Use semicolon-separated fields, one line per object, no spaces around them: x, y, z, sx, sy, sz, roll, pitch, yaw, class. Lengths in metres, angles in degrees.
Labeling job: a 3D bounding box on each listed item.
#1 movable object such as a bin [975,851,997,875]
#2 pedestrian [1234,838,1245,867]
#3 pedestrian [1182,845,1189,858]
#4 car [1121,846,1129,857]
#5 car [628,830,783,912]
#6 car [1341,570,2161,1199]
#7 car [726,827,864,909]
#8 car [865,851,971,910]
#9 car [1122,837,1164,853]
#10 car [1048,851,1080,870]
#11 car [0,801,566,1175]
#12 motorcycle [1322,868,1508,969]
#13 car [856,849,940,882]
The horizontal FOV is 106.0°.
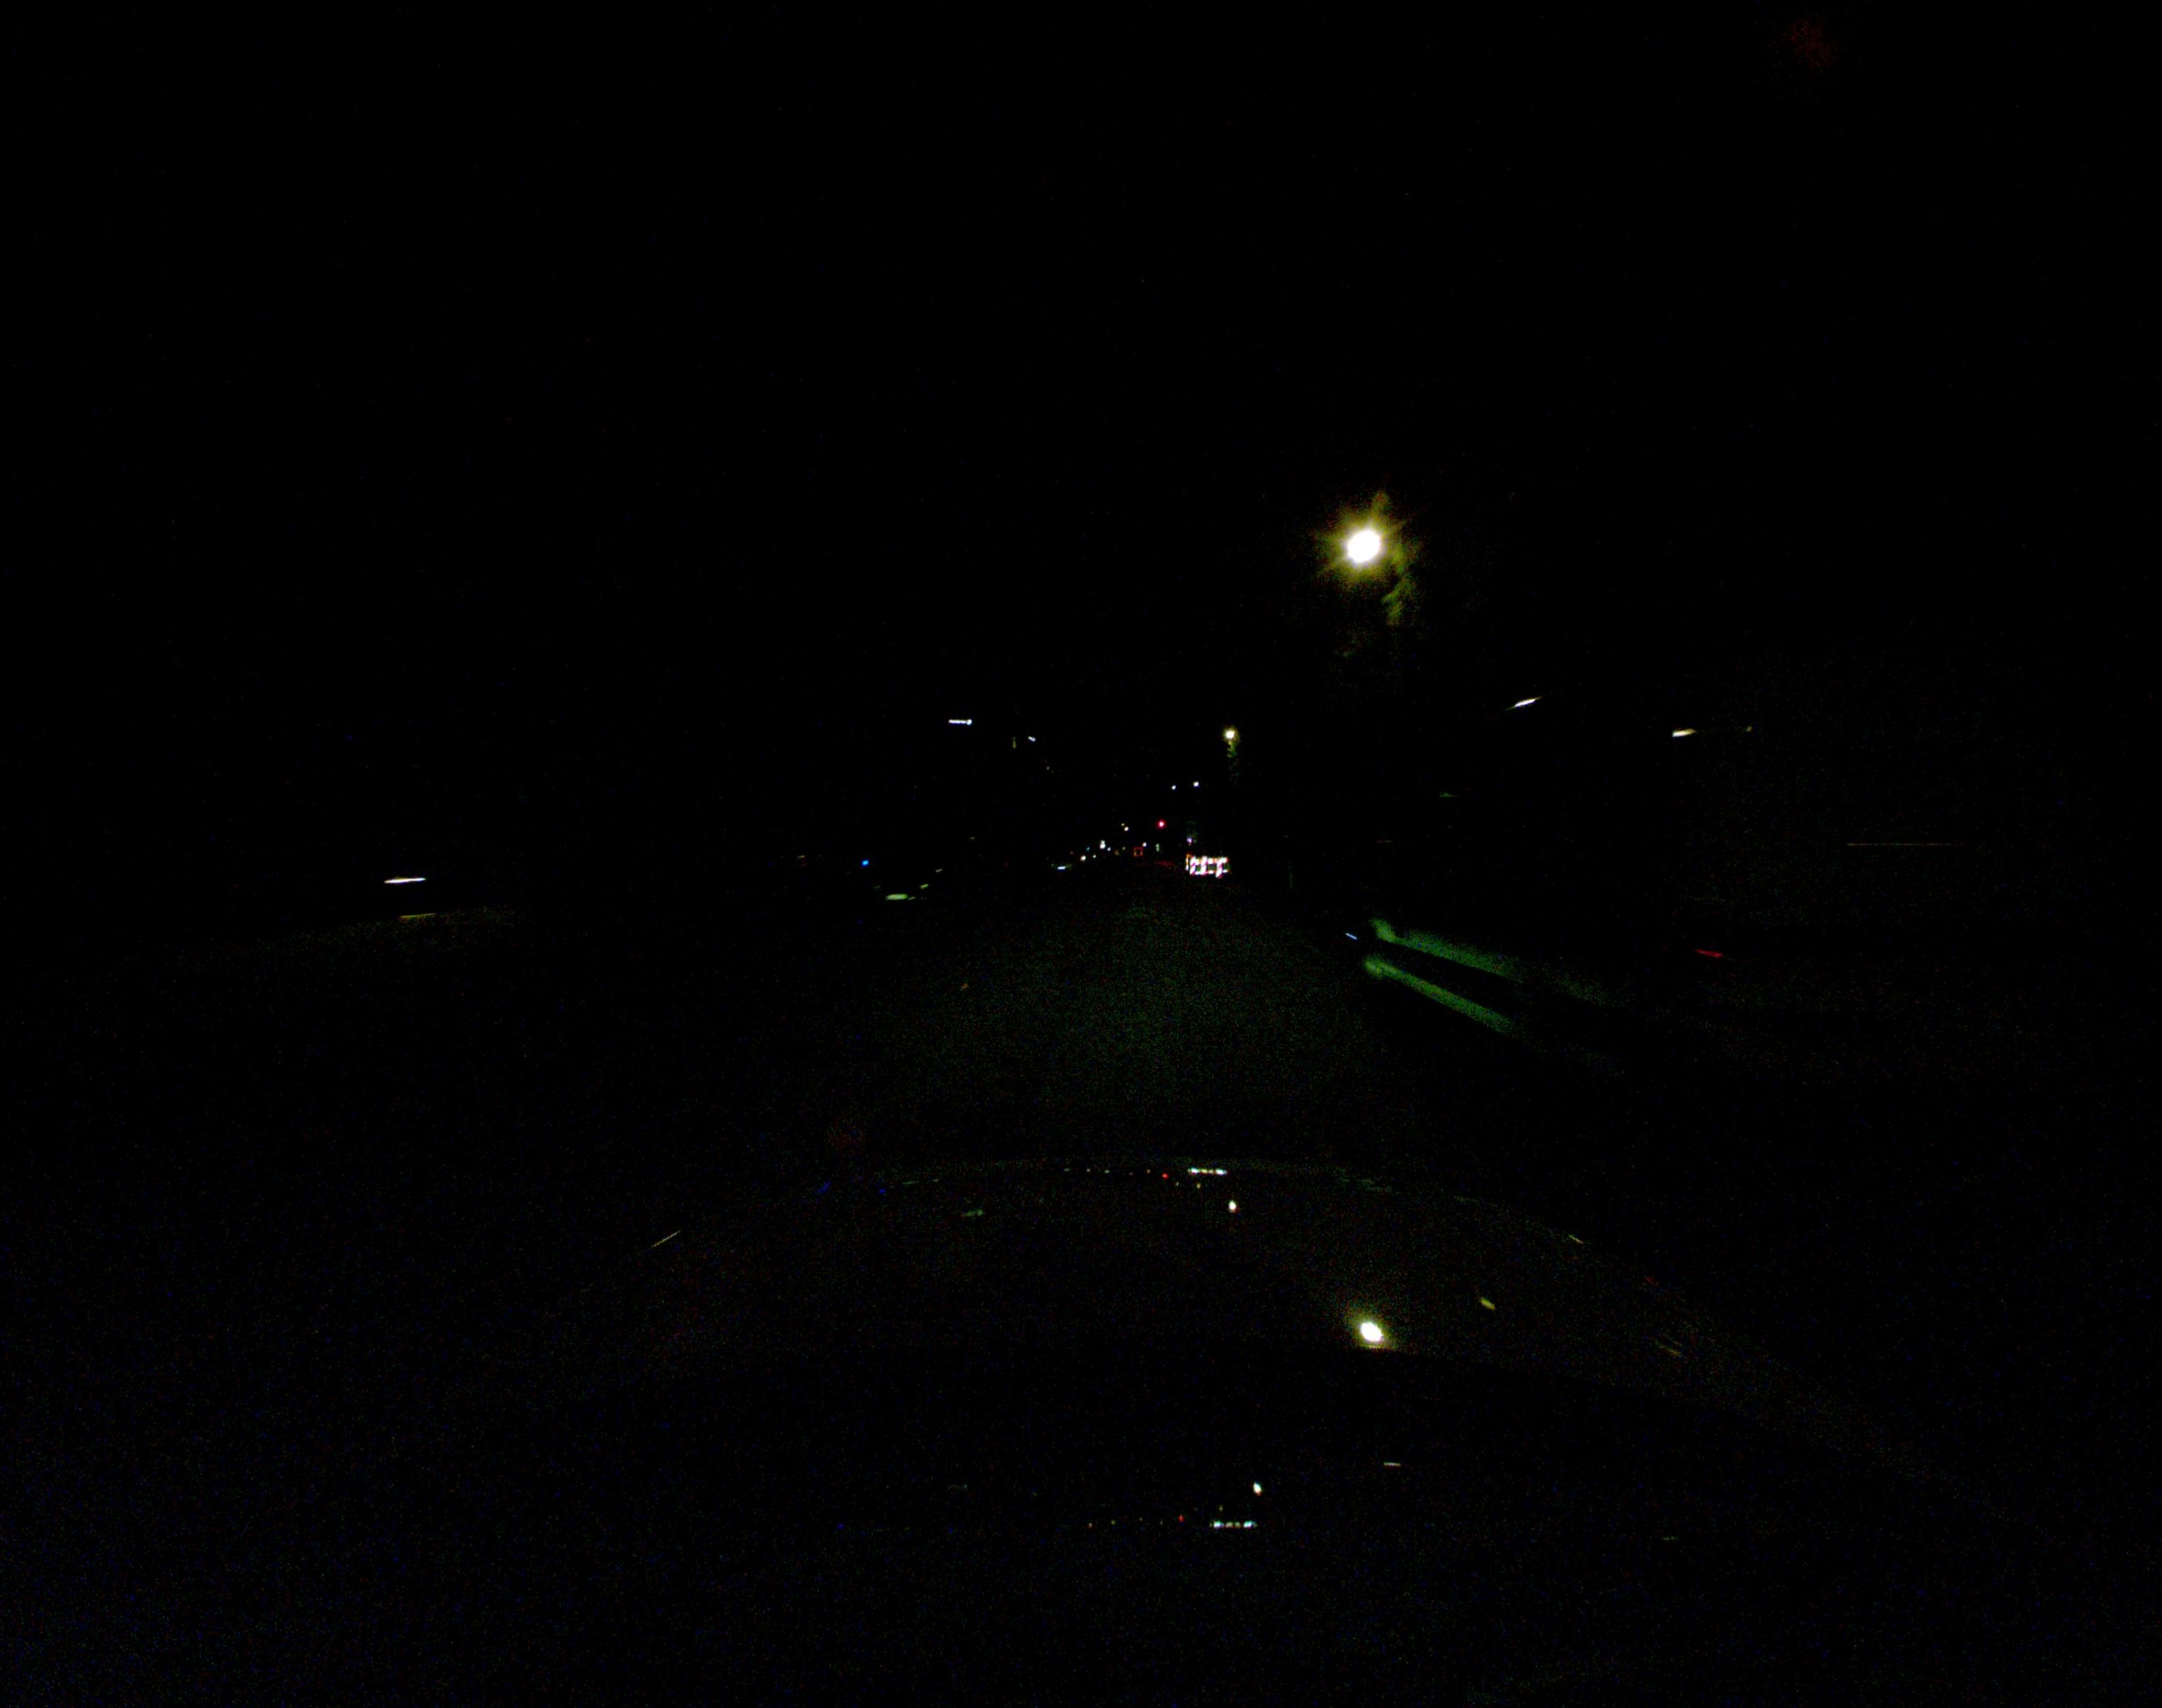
-5.972;0.552;51.171;1.160;1.495;1.066;-2;0;2;movable object such as a bin
10.359;-0.110;53.188;0.567;1.852;0.821;-1;0;6;pedestrian
15.095;-0.367;117.702;0.737;1.981;0.623;-1;0;-12;pedestrian
13.163;-0.739;244.098;1.987;2.974;4.000;-1;0;0;car
-11.755;0.482;25.928;2.194;2.321;4.636;-2;0;9;car
3.786;0.107;6.342;2.011;2.526;6.059;0;0;4;car
-9.087;0.398;26.439;1.982;2.321;4.979;-3;0;9;car
-4.633;0.708;23.829;1.746;1.526;4.330;-1;0;7;car
19.614;-2.691;257.014;12.381;4.709;4.795;-2;0;-9;car
-1.298;0.488;63.424;1.902;1.404;4.345;-2;0;6;car
-6.077;0.669;5.494;1.821;1.816;4.843;-2;0;4;car
4.409;0.798;10.839;2.157;1.183;0.773;0;0;36;motorcycle
-9.826;0.593;43.872;3.968;1.571;1.820;-2;0;4;car
